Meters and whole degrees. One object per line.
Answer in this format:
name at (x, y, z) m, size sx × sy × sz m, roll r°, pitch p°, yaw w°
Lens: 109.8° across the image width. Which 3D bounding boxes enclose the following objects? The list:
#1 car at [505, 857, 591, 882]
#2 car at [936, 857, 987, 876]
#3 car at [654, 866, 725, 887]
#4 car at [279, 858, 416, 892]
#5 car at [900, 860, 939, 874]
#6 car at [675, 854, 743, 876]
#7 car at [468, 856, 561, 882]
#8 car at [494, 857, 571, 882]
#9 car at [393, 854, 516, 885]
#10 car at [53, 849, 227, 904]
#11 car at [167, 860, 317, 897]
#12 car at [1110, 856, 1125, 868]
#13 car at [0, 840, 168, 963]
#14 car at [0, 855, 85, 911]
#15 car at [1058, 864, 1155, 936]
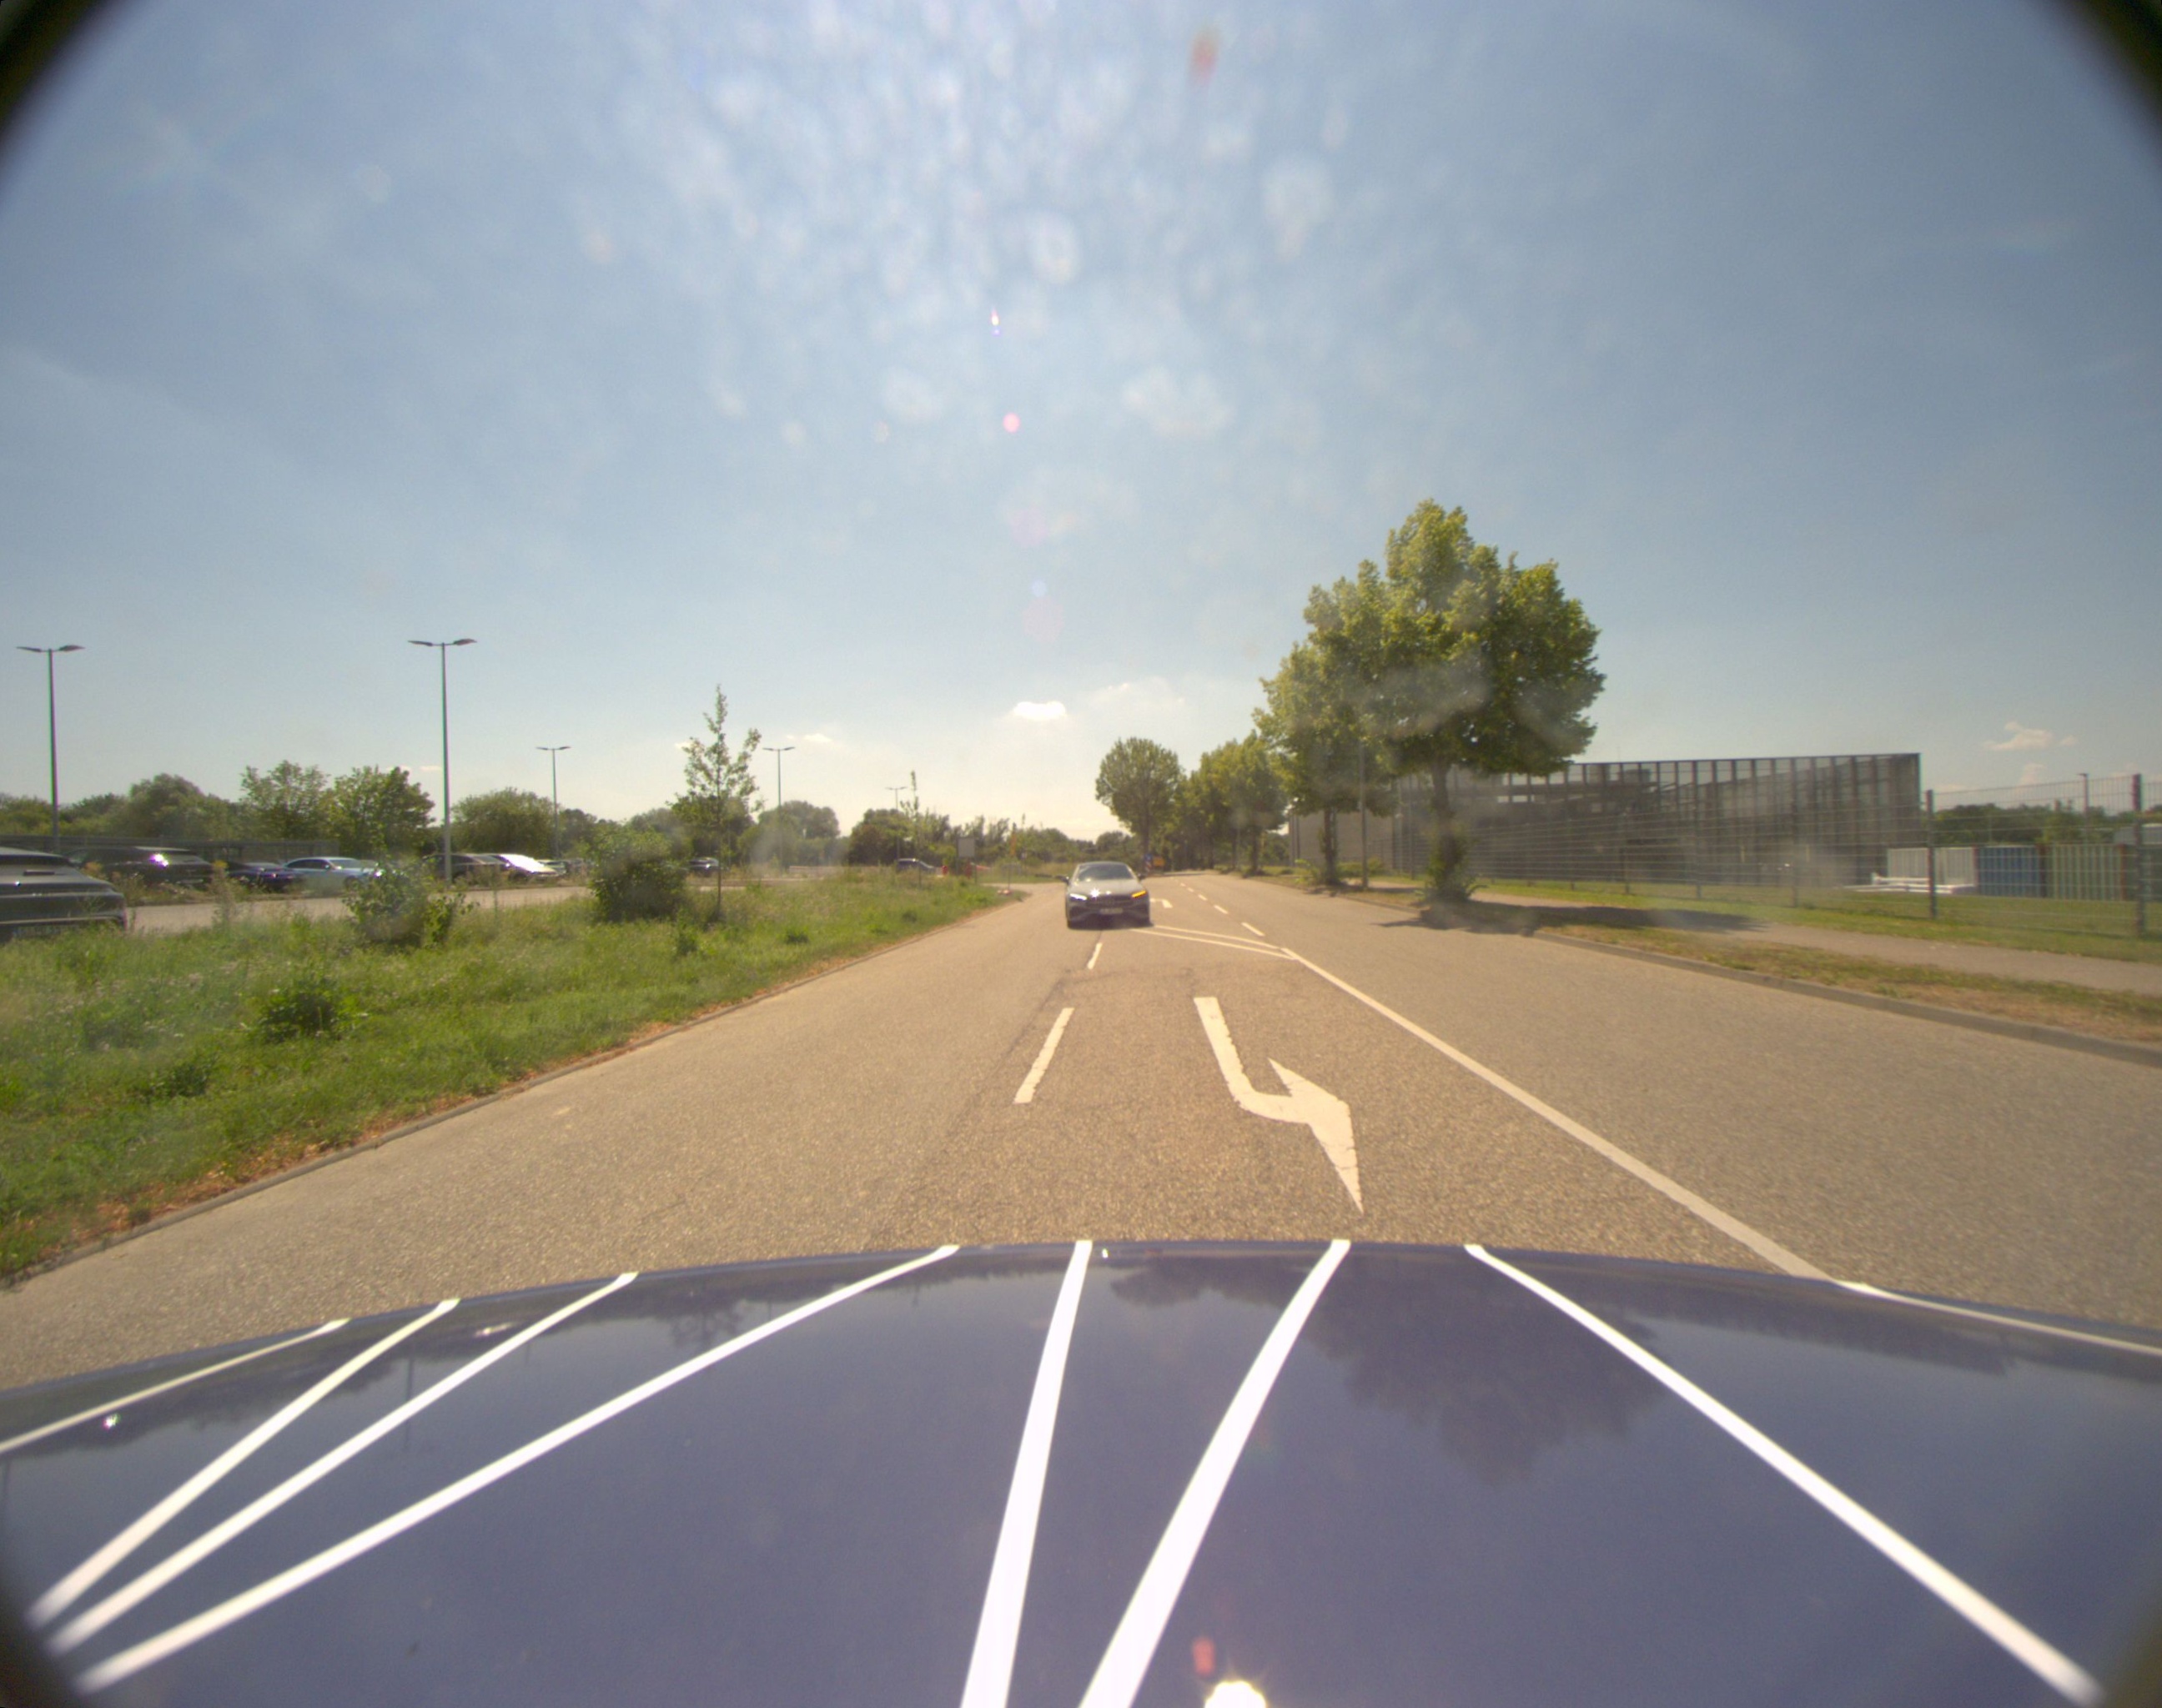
car at (-27.523, 0.783, 39.284) m, size 3.459 × 1.216 × 1.465 m, roll 1°, pitch 0°, yaw 3°
car at (-10.216, 1.055, 65.076) m, size 3.997 × 1.343 × 1.646 m, roll -3°, pitch 1°, yaw 0°
car at (-26.639, 1.504, 51.821) m, size 3.997 × 1.343 × 1.646 m, roll 0°, pitch 0°, yaw 0°
car at (-28.167, 0.789, 29.257) m, size 3.846 × 1.229 × 1.611 m, roll 1°, pitch 0°, yaw 3°
car at (-18.408, 1.477, 86.795) m, size 3.997 × 1.343 × 1.646 m, roll -3°, pitch 1°, yaw 0°
car at (-26.641, 0.791, 54.502) m, size 3.997 × 1.343 × 1.646 m, roll -3°, pitch 1°, yaw 0°
car at (-27.410, 0.709, 36.787) m, size 3.459 × 1.216 × 1.465 m, roll 1°, pitch 0°, yaw 3°
car at (-37.525, 1.048, 52.059) m, size 3.997 × 1.459 × 1.646 m, roll -3°, pitch 1°, yaw 0°
car at (-27.803, 0.672, 33.787) m, size 4.297 × 1.289 × 1.558 m, roll 1°, pitch 0°, yaw 3°
car at (-28.074, 0.646, 22.725) m, size 3.435 × 1.537 × 1.561 m, roll 1°, pitch 0°, yaw 3°
car at (-28.169, 0.813, 25.573) m, size 3.458 × 1.156 × 1.558 m, roll 1°, pitch 0°, yaw 3°
car at (4.673, 0.969, 96.680) m, size 1.672 × 1.366 × 4.498 m, roll -4°, pitch 0°, yaw 5°
car at (-13.215, 0.590, 8.452) m, size 3.995 × 1.284 × 1.909 m, roll -3°, pitch 1°, yaw 5°
car at (-28.658, 0.719, 19.831) m, size 3.435 × 1.383 × 1.561 m, roll 1°, pitch 0°, yaw 3°
car at (0.609, 0.967, 17.638) m, size 1.897 × 1.375 × 4.634 m, roll -2°, pitch -1°, yaw 2°
